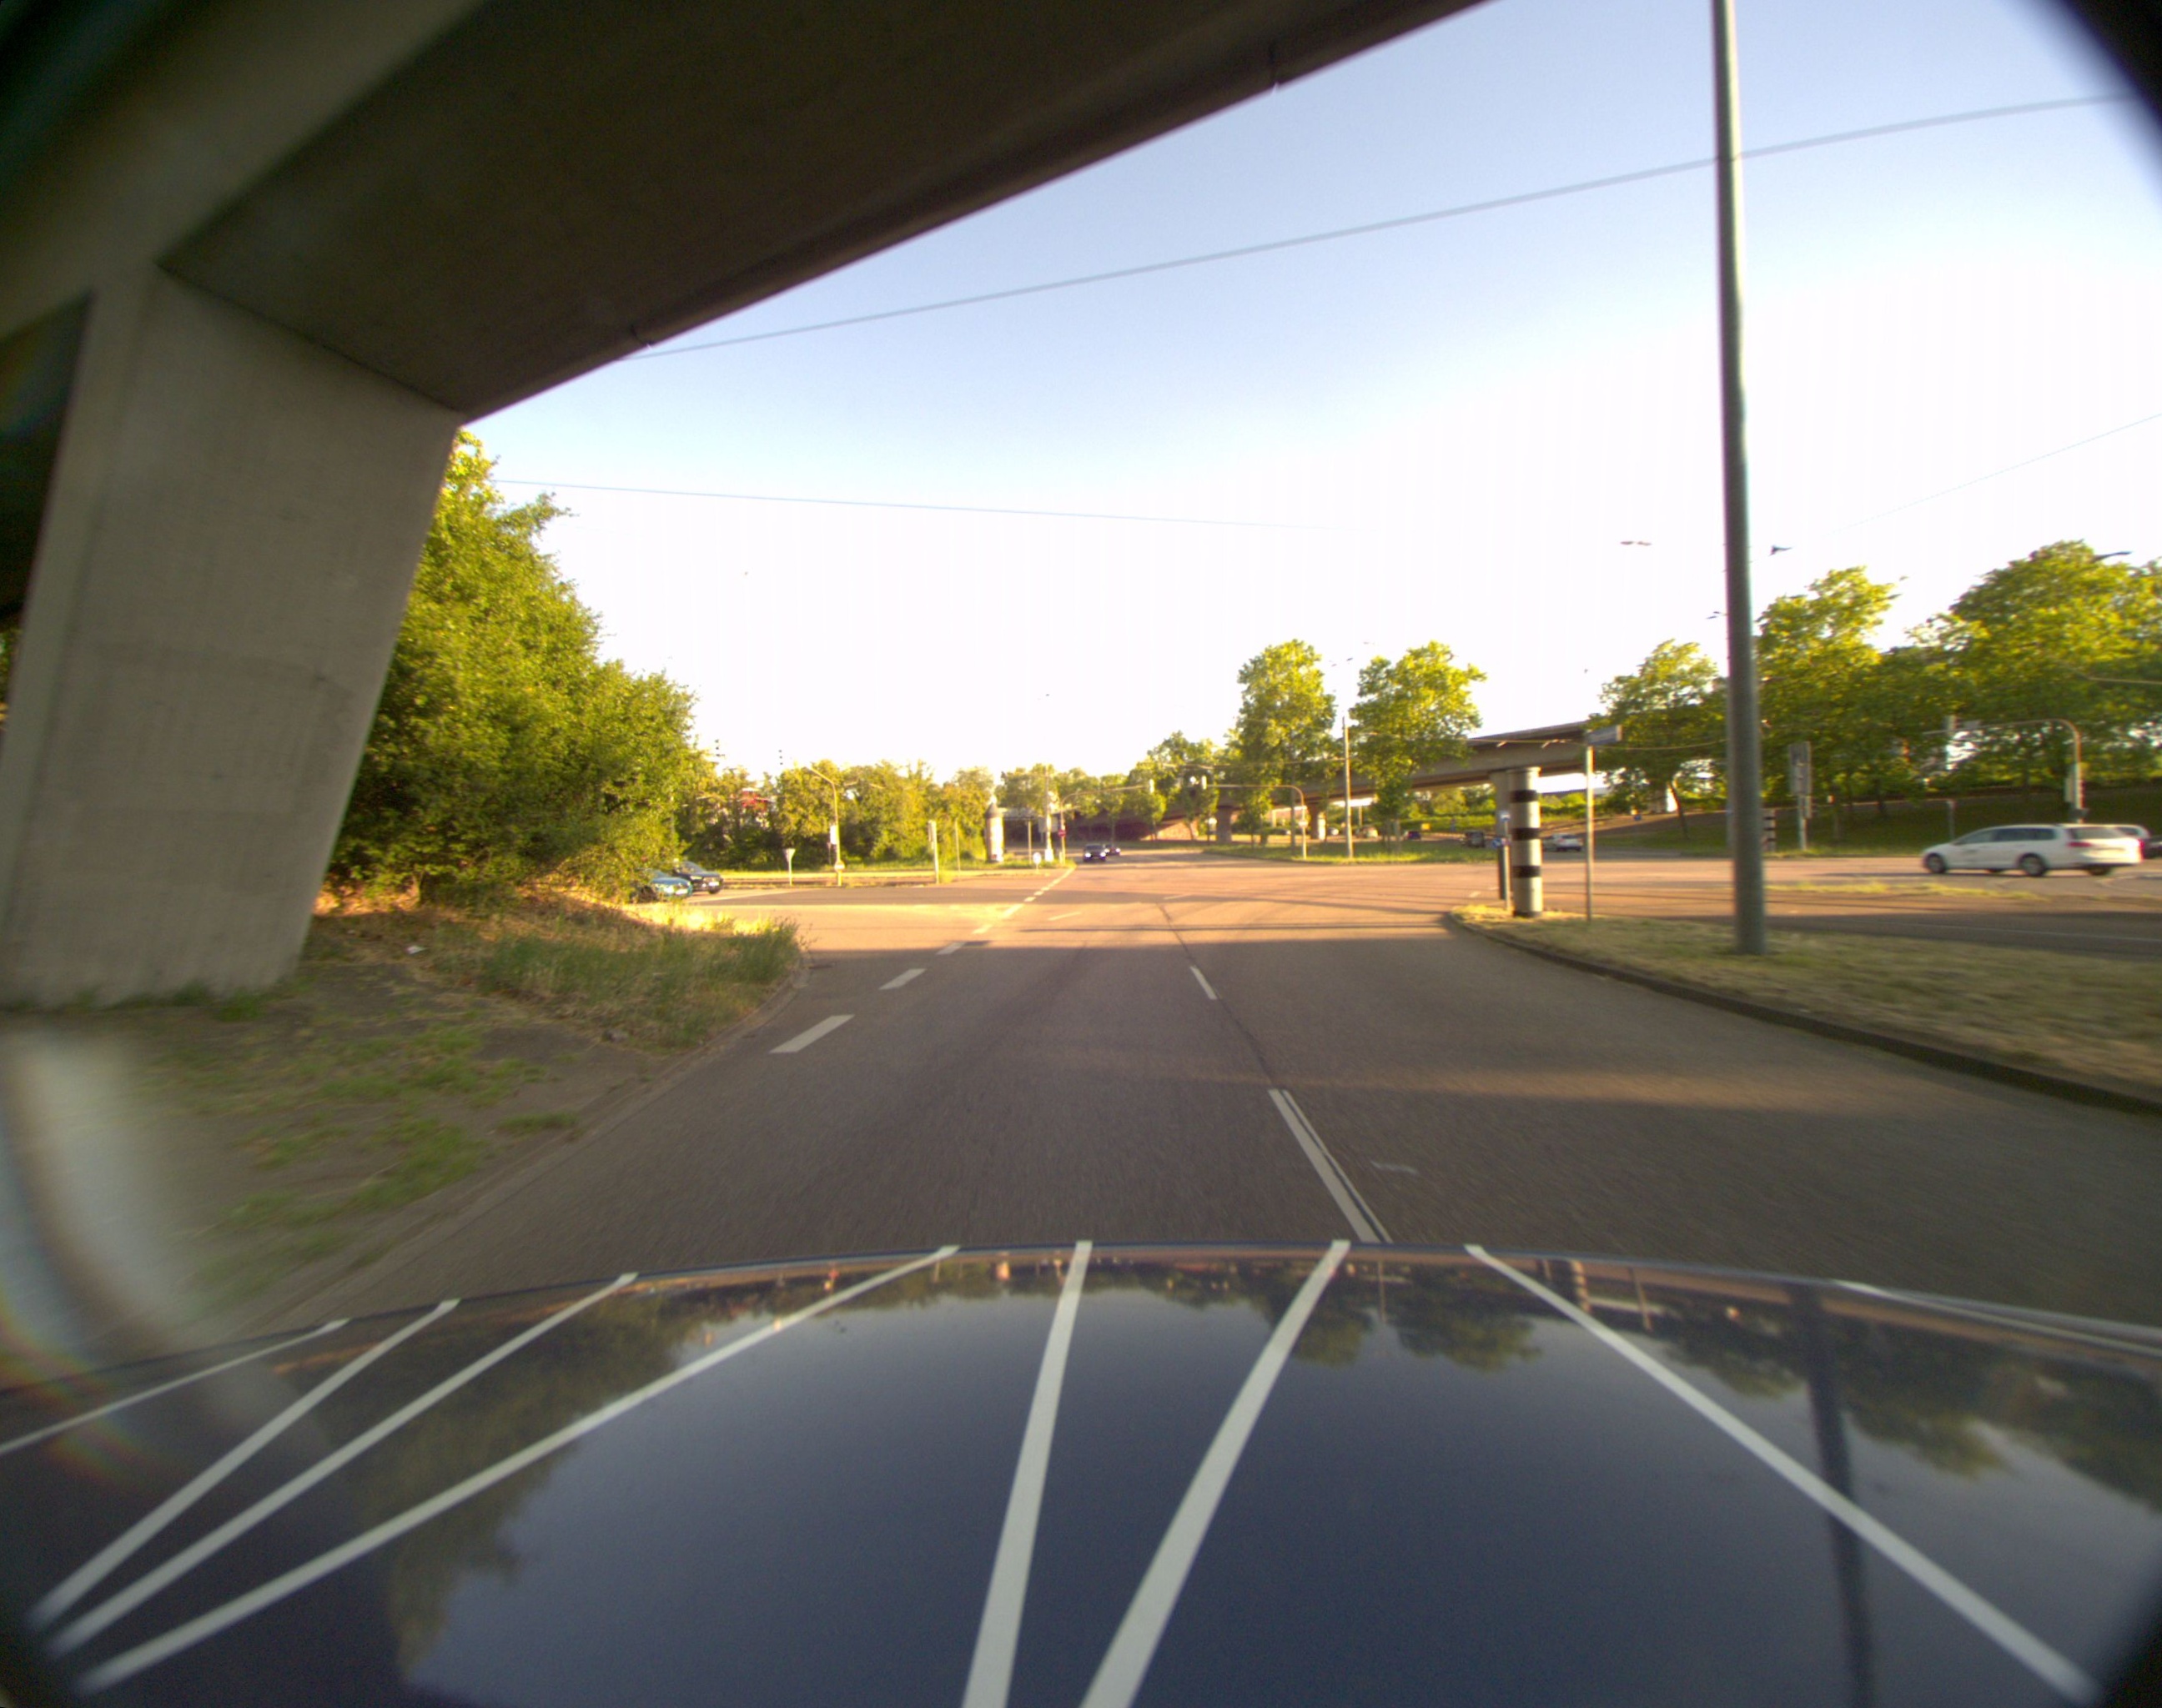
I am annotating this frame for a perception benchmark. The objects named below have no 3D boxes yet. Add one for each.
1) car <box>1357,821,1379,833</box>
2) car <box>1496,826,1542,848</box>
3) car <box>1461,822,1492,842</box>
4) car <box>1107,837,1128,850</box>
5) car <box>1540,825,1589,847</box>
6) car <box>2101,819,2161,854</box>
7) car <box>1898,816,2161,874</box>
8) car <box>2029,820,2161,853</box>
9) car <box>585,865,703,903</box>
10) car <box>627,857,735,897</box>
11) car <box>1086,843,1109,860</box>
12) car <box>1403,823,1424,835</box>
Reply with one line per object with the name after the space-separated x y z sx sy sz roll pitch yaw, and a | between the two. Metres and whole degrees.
48.353 -4.549 128.158 1.998 1.894 4.705 -2 1 3 | car
34.892 -1.385 60.686 1.854 1.600 4.310 -2 1 11 | car
38.823 -2.160 74.676 1.853 1.856 4.149 -2 1 14 | car
4.329 -1.234 89.265 1.997 1.477 4.002 -2 0 8 | car
38.457 -1.441 60.597 1.854 1.600 4.373 -2 1 12 | car
44.806 -0.754 30.732 3.991 1.346 1.612 -1 2 22 | car
27.293 -0.273 22.144 2.009 1.435 4.862 -2 1 6 | car
46.010 -0.784 34.276 3.725 1.346 1.612 -1 2 22 | car
-18.293 1.259 31.827 4.502 1.409 1.792 -1 2 21 | car
-18.655 1.066 35.459 4.590 1.672 1.924 -1 2 23 | car
1.528 -0.246 72.421 1.999 1.477 3.999 -2 0 -1 | car
46.654 -3.530 106.673 1.997 1.550 3.937 -2 1 11 | car
